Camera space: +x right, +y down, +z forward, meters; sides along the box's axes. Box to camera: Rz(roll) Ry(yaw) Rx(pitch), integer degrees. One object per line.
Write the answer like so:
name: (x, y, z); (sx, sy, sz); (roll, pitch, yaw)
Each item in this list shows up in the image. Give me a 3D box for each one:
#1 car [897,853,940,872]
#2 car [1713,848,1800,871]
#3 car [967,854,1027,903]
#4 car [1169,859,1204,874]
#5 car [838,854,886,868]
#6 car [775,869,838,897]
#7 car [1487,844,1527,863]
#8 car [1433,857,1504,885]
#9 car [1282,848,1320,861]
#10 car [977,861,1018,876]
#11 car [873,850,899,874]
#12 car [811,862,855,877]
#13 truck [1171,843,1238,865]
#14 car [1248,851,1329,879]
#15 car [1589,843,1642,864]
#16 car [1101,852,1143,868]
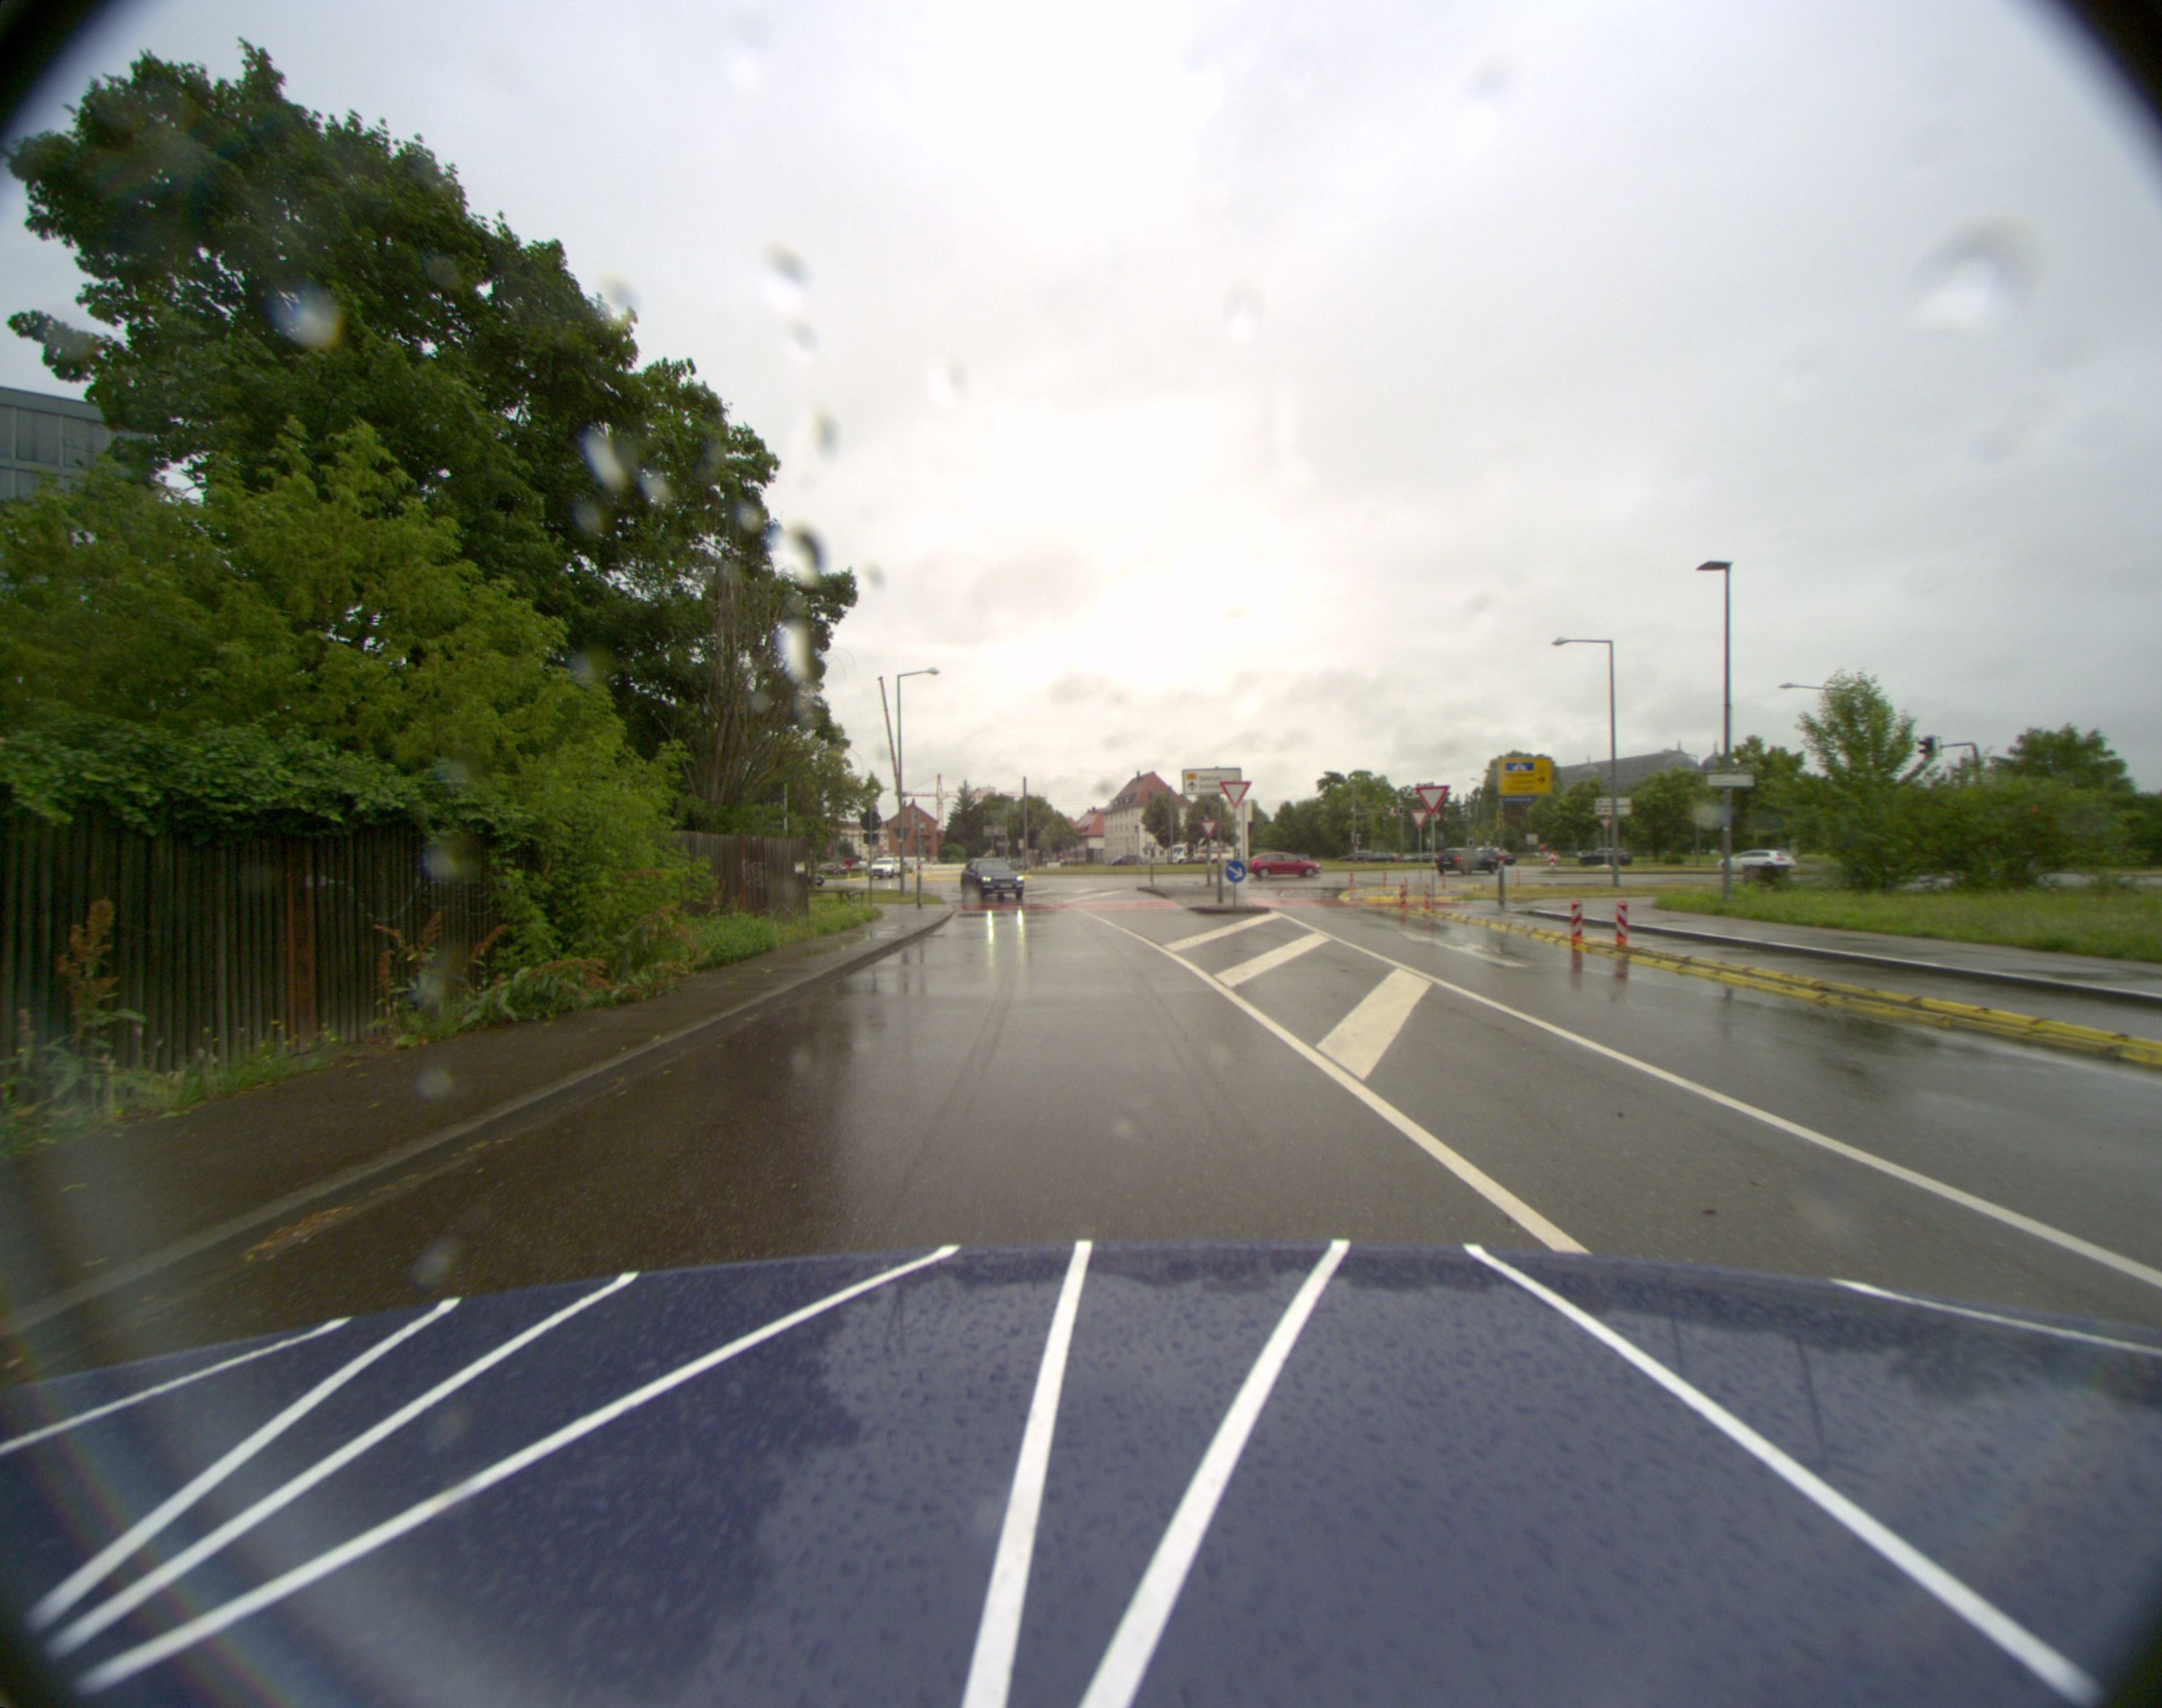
car: (-26.852, 1.423, 125.497); (6.414, 2.923, 2.359); (-1, 3, 18)
car: (47.544, 0.360, 53.580); (1.634, 1.368, 4.240); (-2, 2, -24)
car: (-3.676, 0.961, 32.458); (1.918, 1.737, 4.376); (-2, 2, -14)
car: (13.156, 1.568, 94.785); (3.998, 1.639, 1.788); (-1, 2, -2)
car: (-32.422, 1.012, 112.528); (6.414, 2.003, 2.359); (-1, 3, 18)
car: (-19.250, 2.012, 53.255); (4.370, 1.737, 1.921); (0, 3, 36)
car: (41.200, -0.077, 73.628); (1.787, 1.638, 4.394); (-1, 2, 5)
car: (23.773, 1.026, 46.630); (4.338, 1.509, 1.785); (-3, 1, -30)
car: (26.107, 0.055, 90.230); (3.990, 1.441, 1.850); (-1, 0, 26)
car: (-9.777, 1.653, 89.133); (4.555, 1.484, 1.607); (-3, 3, -29)
car: (-16.518, 0.643, 64.603); (1.778, 1.734, 4.859); (-2, 2, -11)
car: (-28.130, 1.711, 86.361); (4.549, 1.484, 1.609); (-2, 2, -10)
truck: (16.501, -0.021, 102.080); (8.785, 2.696, 2.000); (-1, 3, 8)
car: (12.178, 0.649, 44.859); (4.310, 1.451, 1.789); (-2, 1, 5)
car: (46.526, -0.098, 66.216); (1.787, 1.638, 4.388); (-1, 2, 5)
car: (5.012, 0.755, 92.912); (4.865, 1.734, 1.776); (-2, 2, -6)
